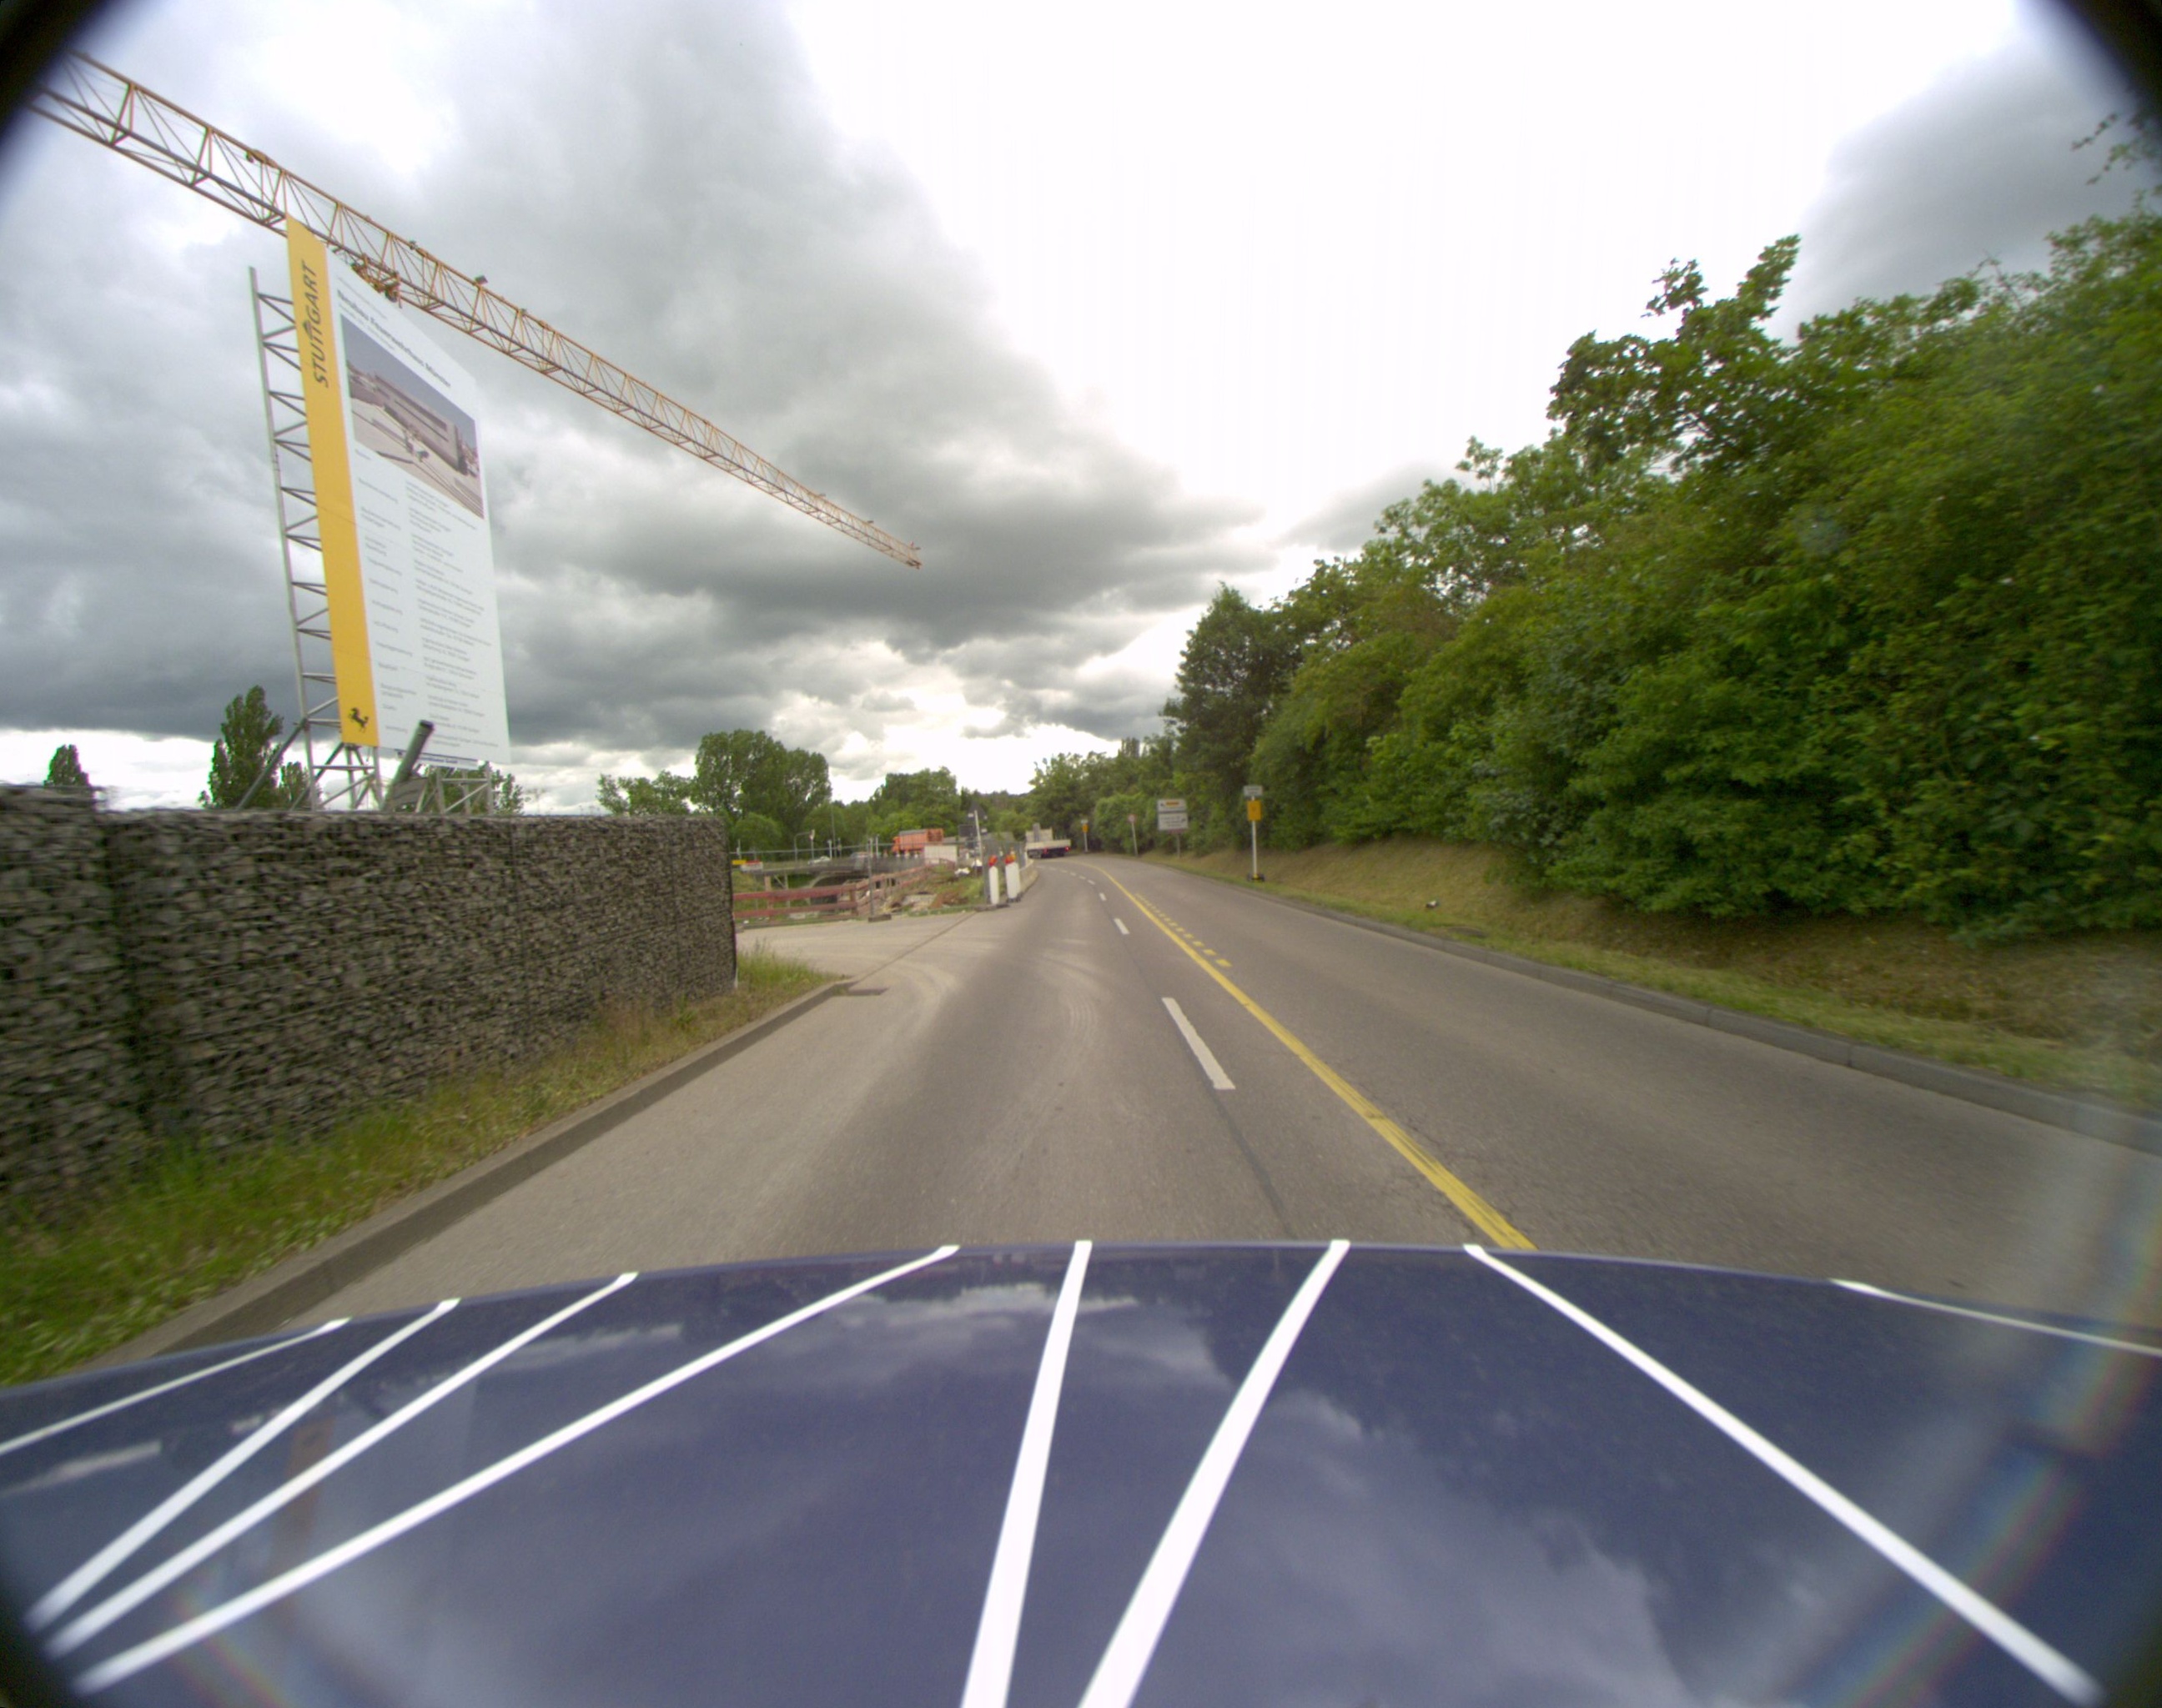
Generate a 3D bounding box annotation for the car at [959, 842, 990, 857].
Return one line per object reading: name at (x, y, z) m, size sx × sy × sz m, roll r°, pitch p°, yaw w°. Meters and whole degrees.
car at (-12.445, -0.535, 88.738) m, size 1.897 × 1.554 × 4.090 m, roll -6°, pitch 3°, yaw -34°

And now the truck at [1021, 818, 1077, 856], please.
truck at (-3.098, -1.531, 70.843) m, size 2.762 × 3.240 × 7.596 m, roll -5°, pitch 2°, yaw -21°

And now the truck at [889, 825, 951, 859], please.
truck at (-21.165, -1.552, 99.476) m, size 3.046 × 3.876 × 9.976 m, roll -7°, pitch 3°, yaw -43°
